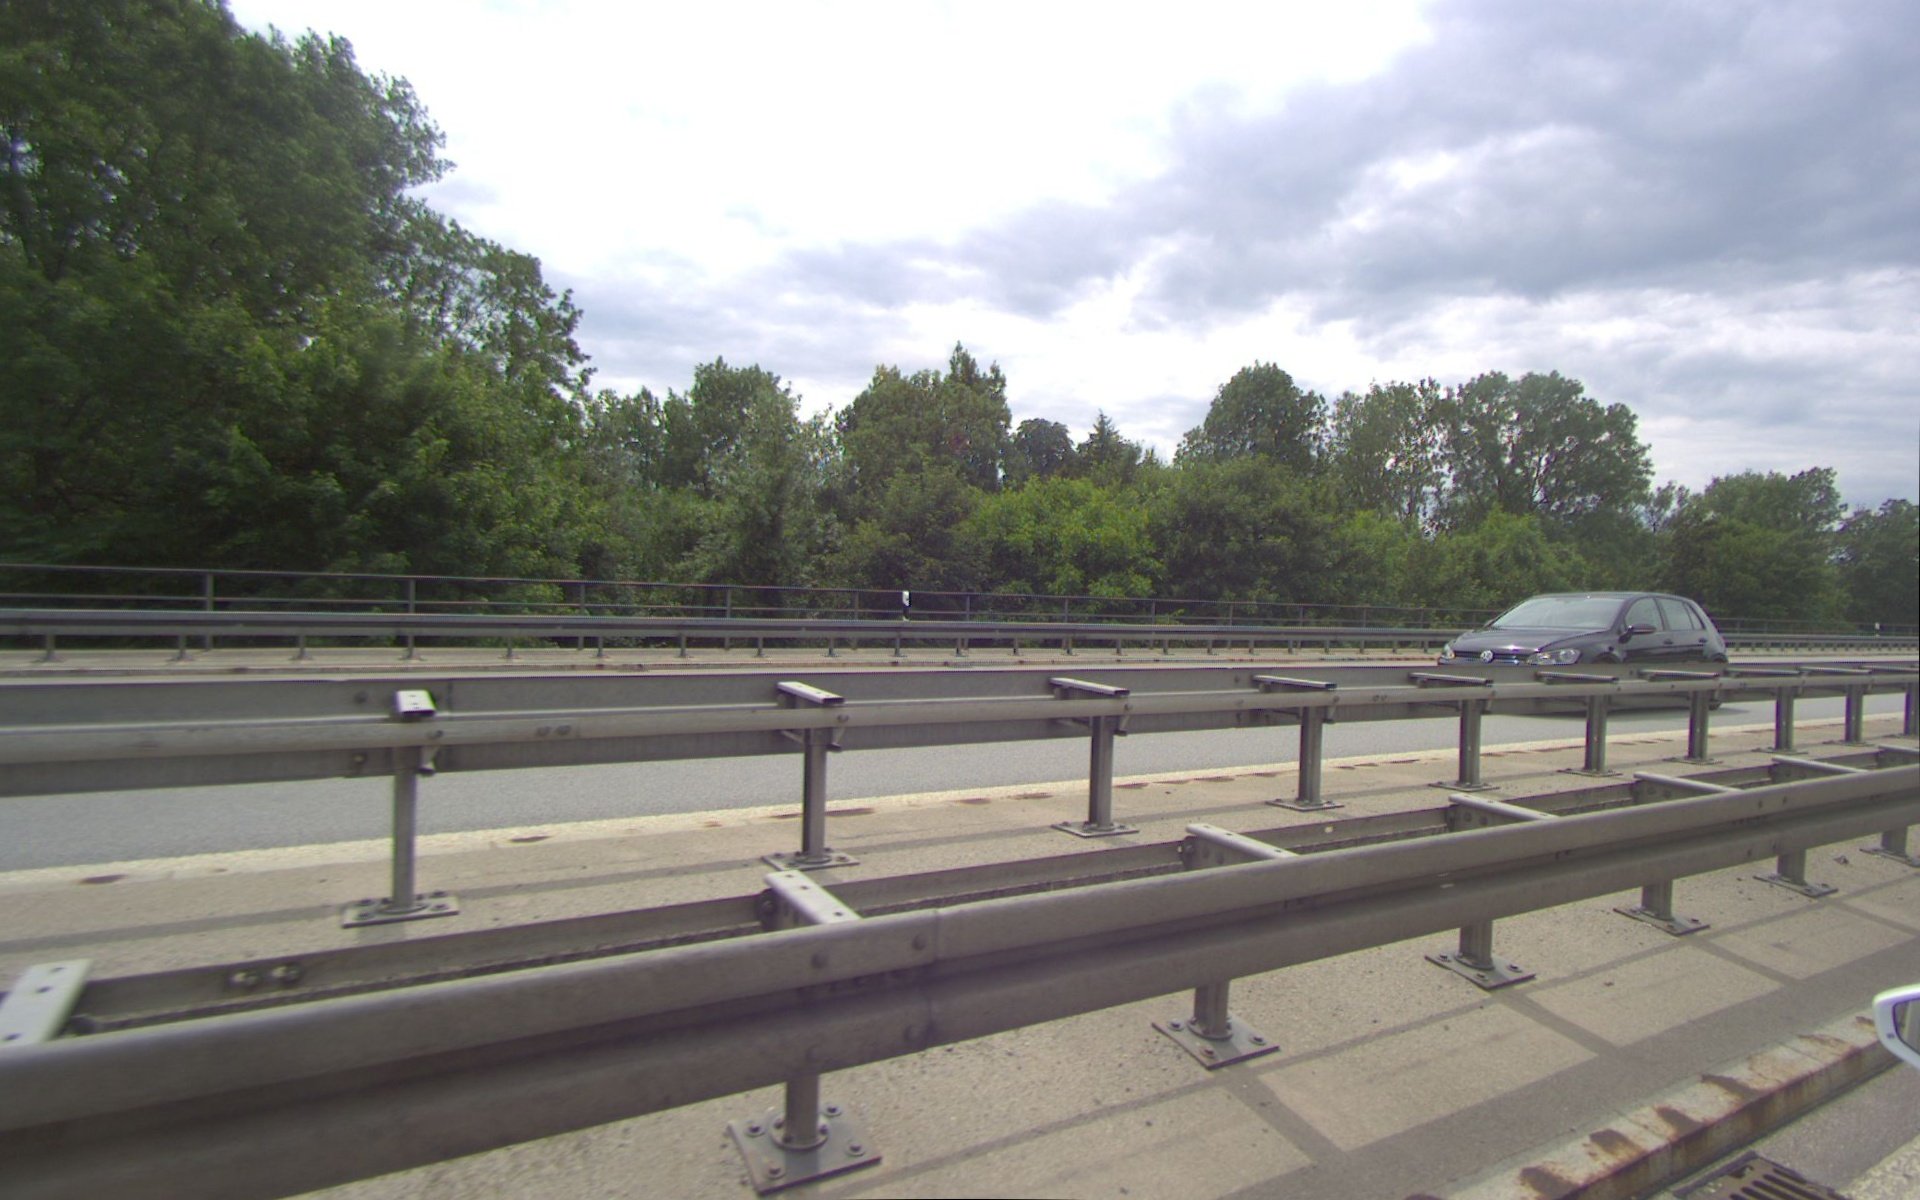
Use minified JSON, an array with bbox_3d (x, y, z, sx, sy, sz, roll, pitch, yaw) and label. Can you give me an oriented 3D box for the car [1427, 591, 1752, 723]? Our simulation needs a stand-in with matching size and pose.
[{"bbox_3d":[7.839,0.652,12.407,4.309,1.394,1.677,1,-1,-32],"label":"car"}]
